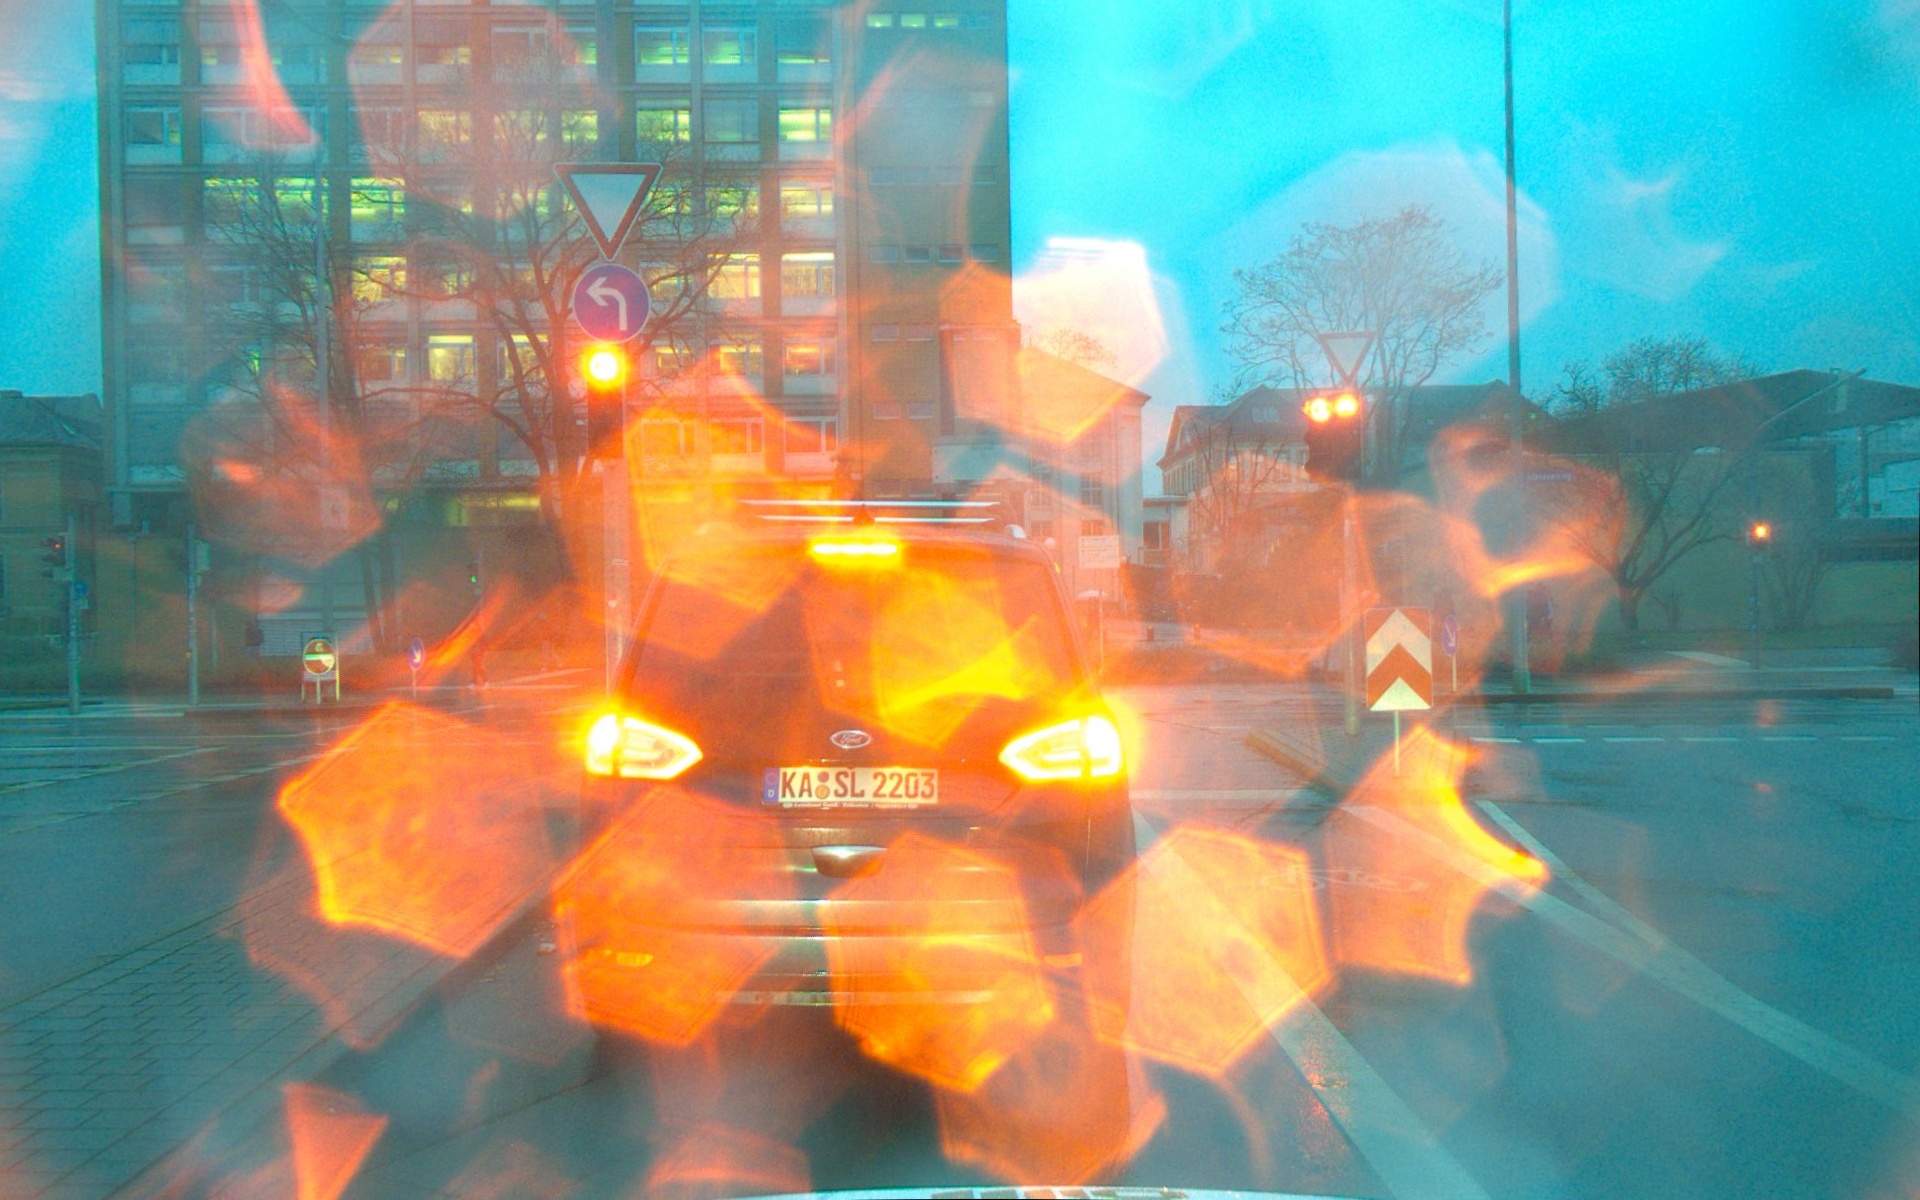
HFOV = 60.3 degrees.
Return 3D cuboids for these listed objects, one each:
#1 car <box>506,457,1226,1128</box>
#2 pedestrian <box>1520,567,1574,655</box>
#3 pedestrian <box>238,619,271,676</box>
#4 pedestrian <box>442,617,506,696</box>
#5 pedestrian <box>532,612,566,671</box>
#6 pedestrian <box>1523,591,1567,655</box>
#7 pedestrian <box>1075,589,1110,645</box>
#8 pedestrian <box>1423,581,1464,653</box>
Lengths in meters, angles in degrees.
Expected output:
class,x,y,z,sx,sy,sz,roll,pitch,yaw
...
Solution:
class,x,y,z,sx,sy,sz,roll,pitch,yaw
car,-0.280,0.542,6.557,1.953,1.821,3.999,1,0,-1
pedestrian,14.591,0.263,41.129,0.878,2.150,0.883,-2,0,-13
pedestrian,-21.734,1.451,50.946,0.625,1.718,0.637,-2,0,16
pedestrian,-12.216,1.409,41.601,0.980,1.874,1.139,-2,2,21
pedestrian,-11.956,1.198,48.077,0.743,1.656,0.558,-2,0,12
pedestrian,14.885,0.574,42.115,0.905,1.559,1.044,-2,0,12
pedestrian,3.998,0.514,49.868,0.708,1.656,0.757,-2,0,42
pedestrian,12.710,0.437,43.445,0.975,1.831,0.920,-2,0,17
